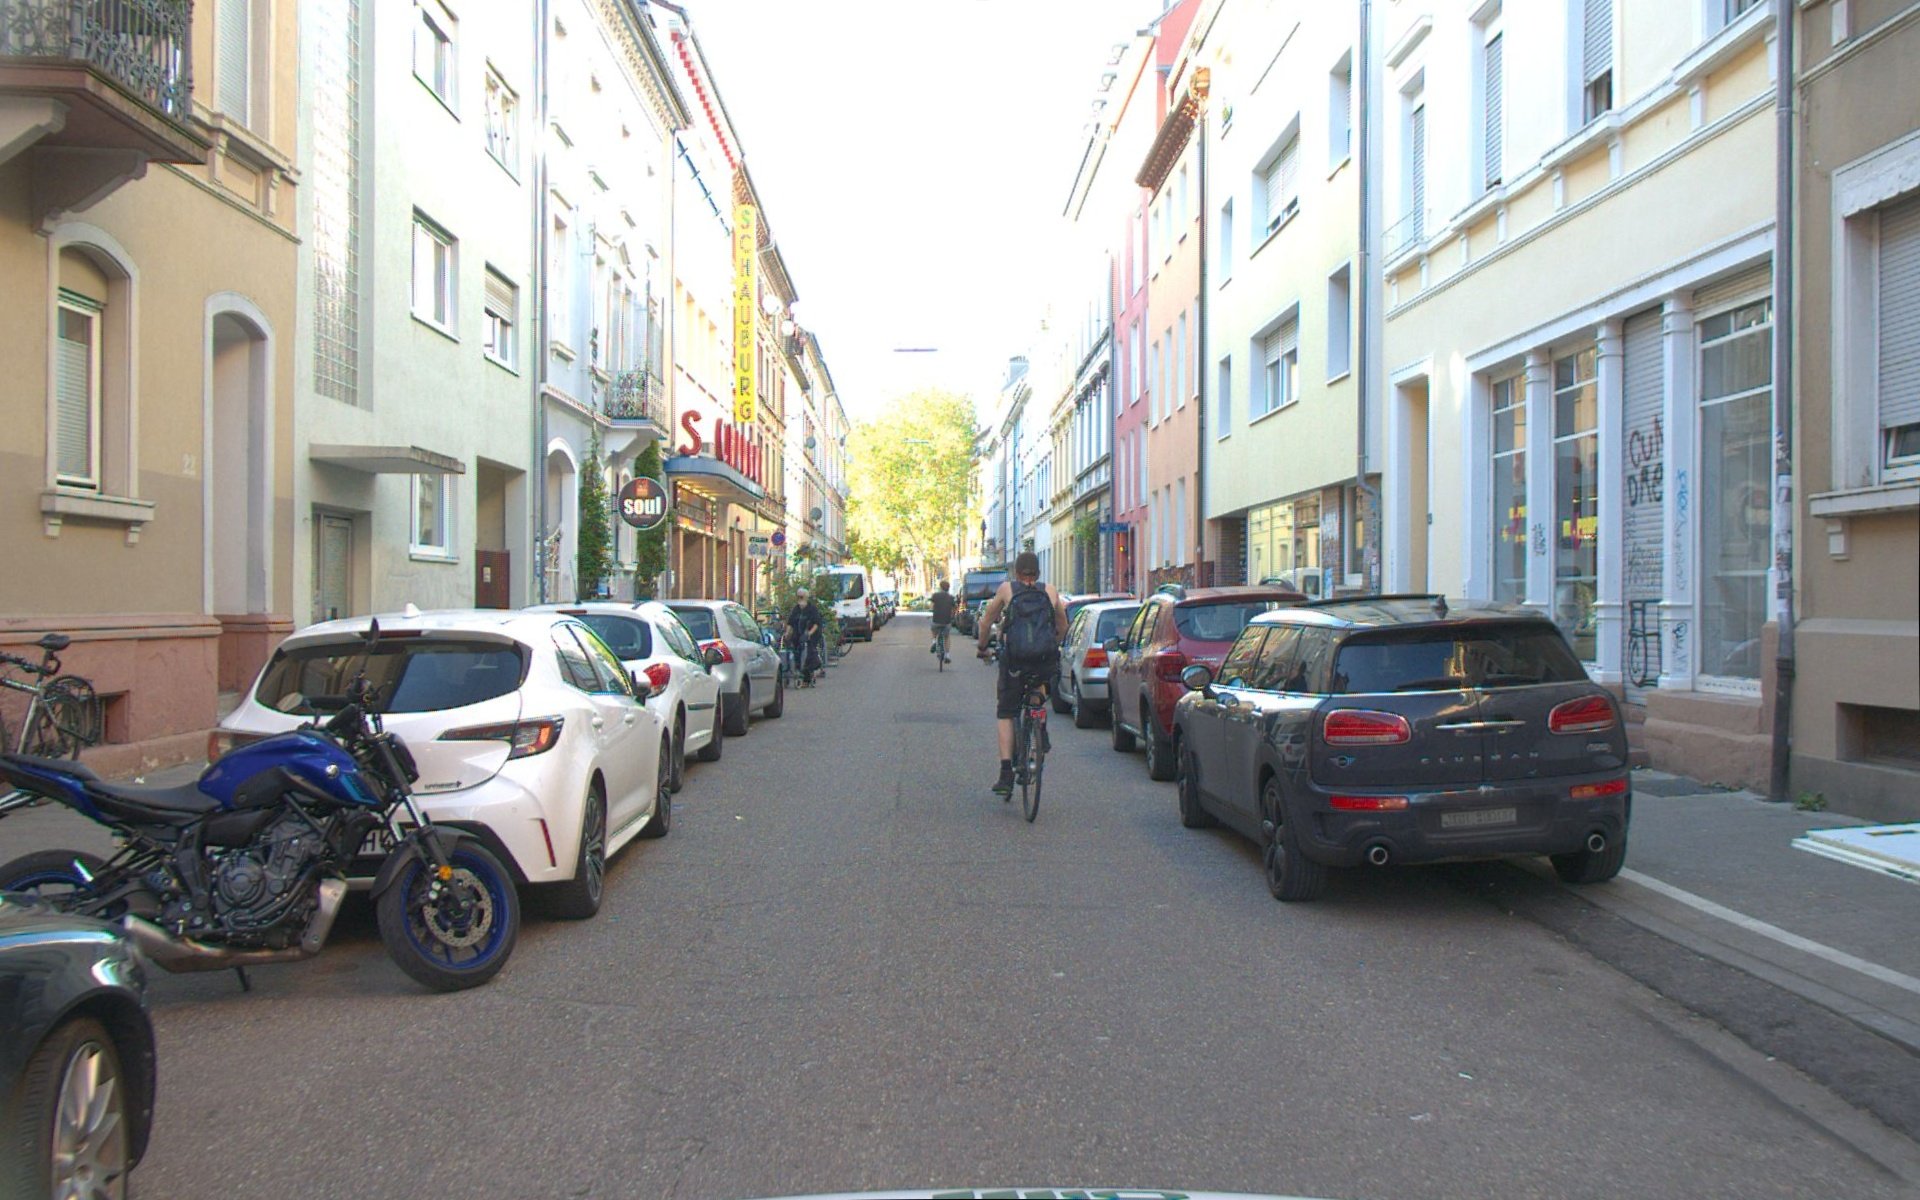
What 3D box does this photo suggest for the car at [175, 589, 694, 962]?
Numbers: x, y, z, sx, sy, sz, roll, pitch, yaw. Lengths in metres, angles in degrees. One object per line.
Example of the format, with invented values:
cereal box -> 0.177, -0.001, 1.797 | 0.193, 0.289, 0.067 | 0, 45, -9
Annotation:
car -> -2.512, 0.735, 8.956 | 1.639, 1.467, 4.162 | -2, 0, -3

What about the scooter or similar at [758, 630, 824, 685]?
scooter or similar -> -2.812, 0.947, 27.539 | 0.759, 0.888, 0.766 | 1, -1, 43

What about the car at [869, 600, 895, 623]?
car -> -5.259, 0.797, 111.957 | 1.638, 1.467, 4.164 | -2, 0, -2

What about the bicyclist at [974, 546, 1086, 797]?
bicyclist -> 0.471, 0.477, 11.560 | 0.688, 1.662, 1.090 | 1, -1, -2

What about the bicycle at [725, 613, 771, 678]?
bicycle -> -3.966, 0.838, 31.095 | 0.743, 1.154, 2.272 | 1, 0, -5

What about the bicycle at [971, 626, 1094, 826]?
bicycle -> 0.468, 0.817, 11.659 | 0.688, 1.229, 2.341 | 1, 0, -1

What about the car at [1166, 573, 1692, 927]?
car -> 2.417, 0.697, 9.630 | 1.780, 1.548, 3.998 | -2, 0, -2

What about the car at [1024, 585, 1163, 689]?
car -> 1.980, 0.539, 25.646 | 1.676, 1.407, 3.998 | -2, 0, -2

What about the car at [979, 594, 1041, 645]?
car -> 1.534, 0.602, 52.138 | 1.676, 1.472, 3.998 | -2, 0, -2

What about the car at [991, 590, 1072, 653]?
car -> 1.719, 0.509, 40.773 | 1.676, 1.418, 3.998 | -2, 0, -2

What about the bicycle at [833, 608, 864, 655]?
bicycle -> -2.915, 0.808, 43.117 | 0.743, 1.184, 2.272 | 1, 0, -5

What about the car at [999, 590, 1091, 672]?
car -> 1.757, 0.630, 35.319 | 1.588, 1.577, 3.998 | -2, 0, -2

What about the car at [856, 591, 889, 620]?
car -> -4.708, 0.292, 89.216 | 1.638, 1.467, 4.164 | -2, 0, -2

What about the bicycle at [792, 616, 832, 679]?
bicycle -> -2.776, 0.872, 31.022 | 0.686, 1.125, 2.272 | 1, 0, -5

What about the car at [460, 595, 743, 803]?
car -> -2.902, 0.742, 14.131 | 1.638, 1.467, 3.766 | -2, 0, -2

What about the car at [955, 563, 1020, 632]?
car -> 1.050, -0.074, 67.788 | 2.261, 2.582, 6.767 | -2, 0, -2

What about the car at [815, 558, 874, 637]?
car -> -3.911, -0.080, 56.194 | 1.872, 2.540, 4.162 | -1, 0, -4

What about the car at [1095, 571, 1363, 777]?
car -> 2.330, 0.604, 15.323 | 1.676, 1.583, 3.998 | -2, 0, -2

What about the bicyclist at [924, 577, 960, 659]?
bicyclist -> -0.378, 0.357, 33.691 | 0.688, 1.633, 0.812 | 1, 1, -2

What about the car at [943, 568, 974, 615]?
car -> -0.170, -0.705, 140.597 | 2.261, 3.833, 6.767 | -2, 0, -2

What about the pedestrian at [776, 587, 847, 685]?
pedestrian -> -2.504, 0.602, 27.895 | 0.759, 1.606, 0.894 | 0, -1, 43

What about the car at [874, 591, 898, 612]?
car -> -5.558, 0.145, 124.531 | 1.638, 1.467, 4.164 | -2, 0, -2

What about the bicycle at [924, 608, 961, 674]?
bicycle -> -0.379, 0.810, 33.835 | 0.688, 1.229, 2.341 | 1, 1, -2

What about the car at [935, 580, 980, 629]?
car -> -0.186, 0.264, 93.200 | 2.261, 2.582, 6.767 | -2, 0, -2

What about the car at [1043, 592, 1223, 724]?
car -> 2.044, 0.659, 20.580 | 1.676, 1.407, 3.998 | -2, 0, -2

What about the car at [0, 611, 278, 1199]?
car -> -2.553, 0.779, 1.909 | 1.675, 1.407, 4.356 | 0, 1, 1

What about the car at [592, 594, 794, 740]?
car -> -3.001, 0.708, 19.299 | 1.637, 1.467, 3.754 | -2, 0, 1

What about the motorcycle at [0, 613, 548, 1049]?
motorcycle -> -2.678, 0.804, 6.177 | 2.115, 1.383, 0.537 | -3, 1, -20

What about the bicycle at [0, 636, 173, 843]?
bicycle -> -5.638, 0.799, 10.212 | 0.580, 1.108, 2.078 | 1, 0, -1

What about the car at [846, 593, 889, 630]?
car -> -3.933, 0.483, 70.674 | 1.638, 1.467, 4.164 | -2, 0, -2
